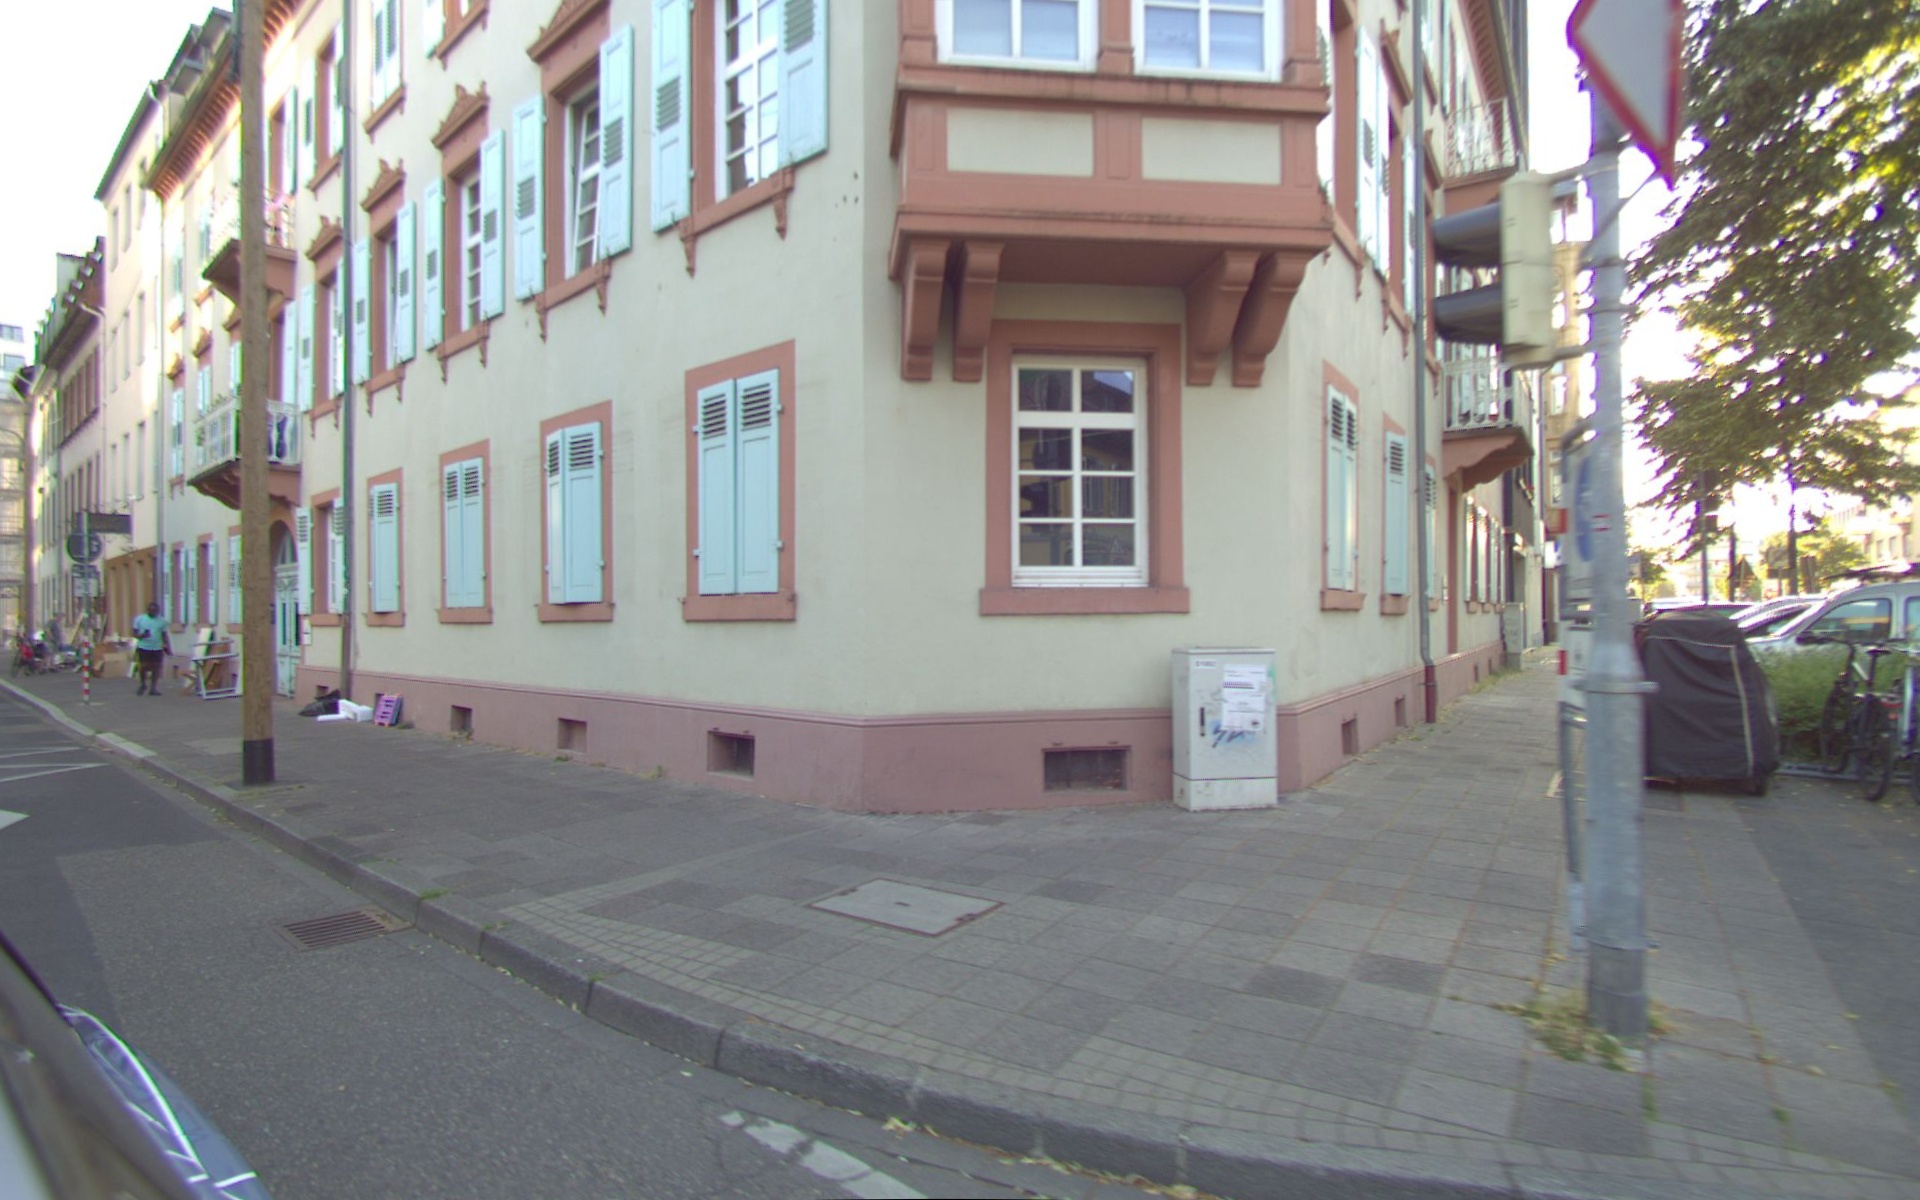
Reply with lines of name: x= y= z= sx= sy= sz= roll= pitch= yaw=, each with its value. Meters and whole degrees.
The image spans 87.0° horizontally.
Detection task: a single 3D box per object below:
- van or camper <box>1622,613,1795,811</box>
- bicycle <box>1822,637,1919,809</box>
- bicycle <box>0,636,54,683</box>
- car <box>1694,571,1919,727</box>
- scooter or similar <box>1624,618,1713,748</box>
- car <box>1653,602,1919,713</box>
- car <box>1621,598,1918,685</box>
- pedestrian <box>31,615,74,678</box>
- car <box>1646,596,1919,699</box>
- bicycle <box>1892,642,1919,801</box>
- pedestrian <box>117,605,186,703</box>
van or camper: x=5.594 y=0.743 z=7.577 sx=0.943 sy=1.269 sz=1.822 roll=0 pitch=-1 yaw=37
bicycle: x=6.618 y=0.831 z=7.343 sx=0.396 sy=1.090 sz=1.577 roll=1 pitch=0 yaw=35
bicycle: x=-24.814 y=1.568 z=26.854 sx=0.649 sy=1.179 sz=1.613 roll=-1 pitch=-1 yaw=-22
car: x=11.790 y=0.606 z=12.962 sx=3.816 sy=1.863 sz=1.679 roll=-1 pitch=-2 yaw=37
scooter or similar: x=7.290 y=0.814 z=10.464 sx=0.676 sy=1.231 sz=1.379 roll=-2 pitch=-2 yaw=33
car: x=12.772 y=0.827 z=15.301 sx=3.657 sy=1.526 sz=1.627 roll=-2 pitch=-2 yaw=39
car: x=15.351 y=0.775 z=19.525 sx=4.205 sy=1.528 sz=1.744 roll=-1 pitch=-2 yaw=30
pedestrian: x=-25.165 y=1.285 z=28.073 sx=0.649 sy=1.709 sz=0.815 roll=-2 pitch=-1 yaw=41
car: x=14.064 y=0.748 z=17.307 sx=3.831 sy=1.597 sz=1.720 roll=0 pitch=-1 yaw=36
bicycle: x=6.920 y=0.856 z=7.112 sx=0.322 sy=1.090 sz=1.577 roll=-1 pitch=-2 yaw=35
pedestrian: x=-14.828 y=0.973 z=18.560 sx=0.649 sy=1.709 sz=0.815 roll=-2 pitch=1 yaw=41
